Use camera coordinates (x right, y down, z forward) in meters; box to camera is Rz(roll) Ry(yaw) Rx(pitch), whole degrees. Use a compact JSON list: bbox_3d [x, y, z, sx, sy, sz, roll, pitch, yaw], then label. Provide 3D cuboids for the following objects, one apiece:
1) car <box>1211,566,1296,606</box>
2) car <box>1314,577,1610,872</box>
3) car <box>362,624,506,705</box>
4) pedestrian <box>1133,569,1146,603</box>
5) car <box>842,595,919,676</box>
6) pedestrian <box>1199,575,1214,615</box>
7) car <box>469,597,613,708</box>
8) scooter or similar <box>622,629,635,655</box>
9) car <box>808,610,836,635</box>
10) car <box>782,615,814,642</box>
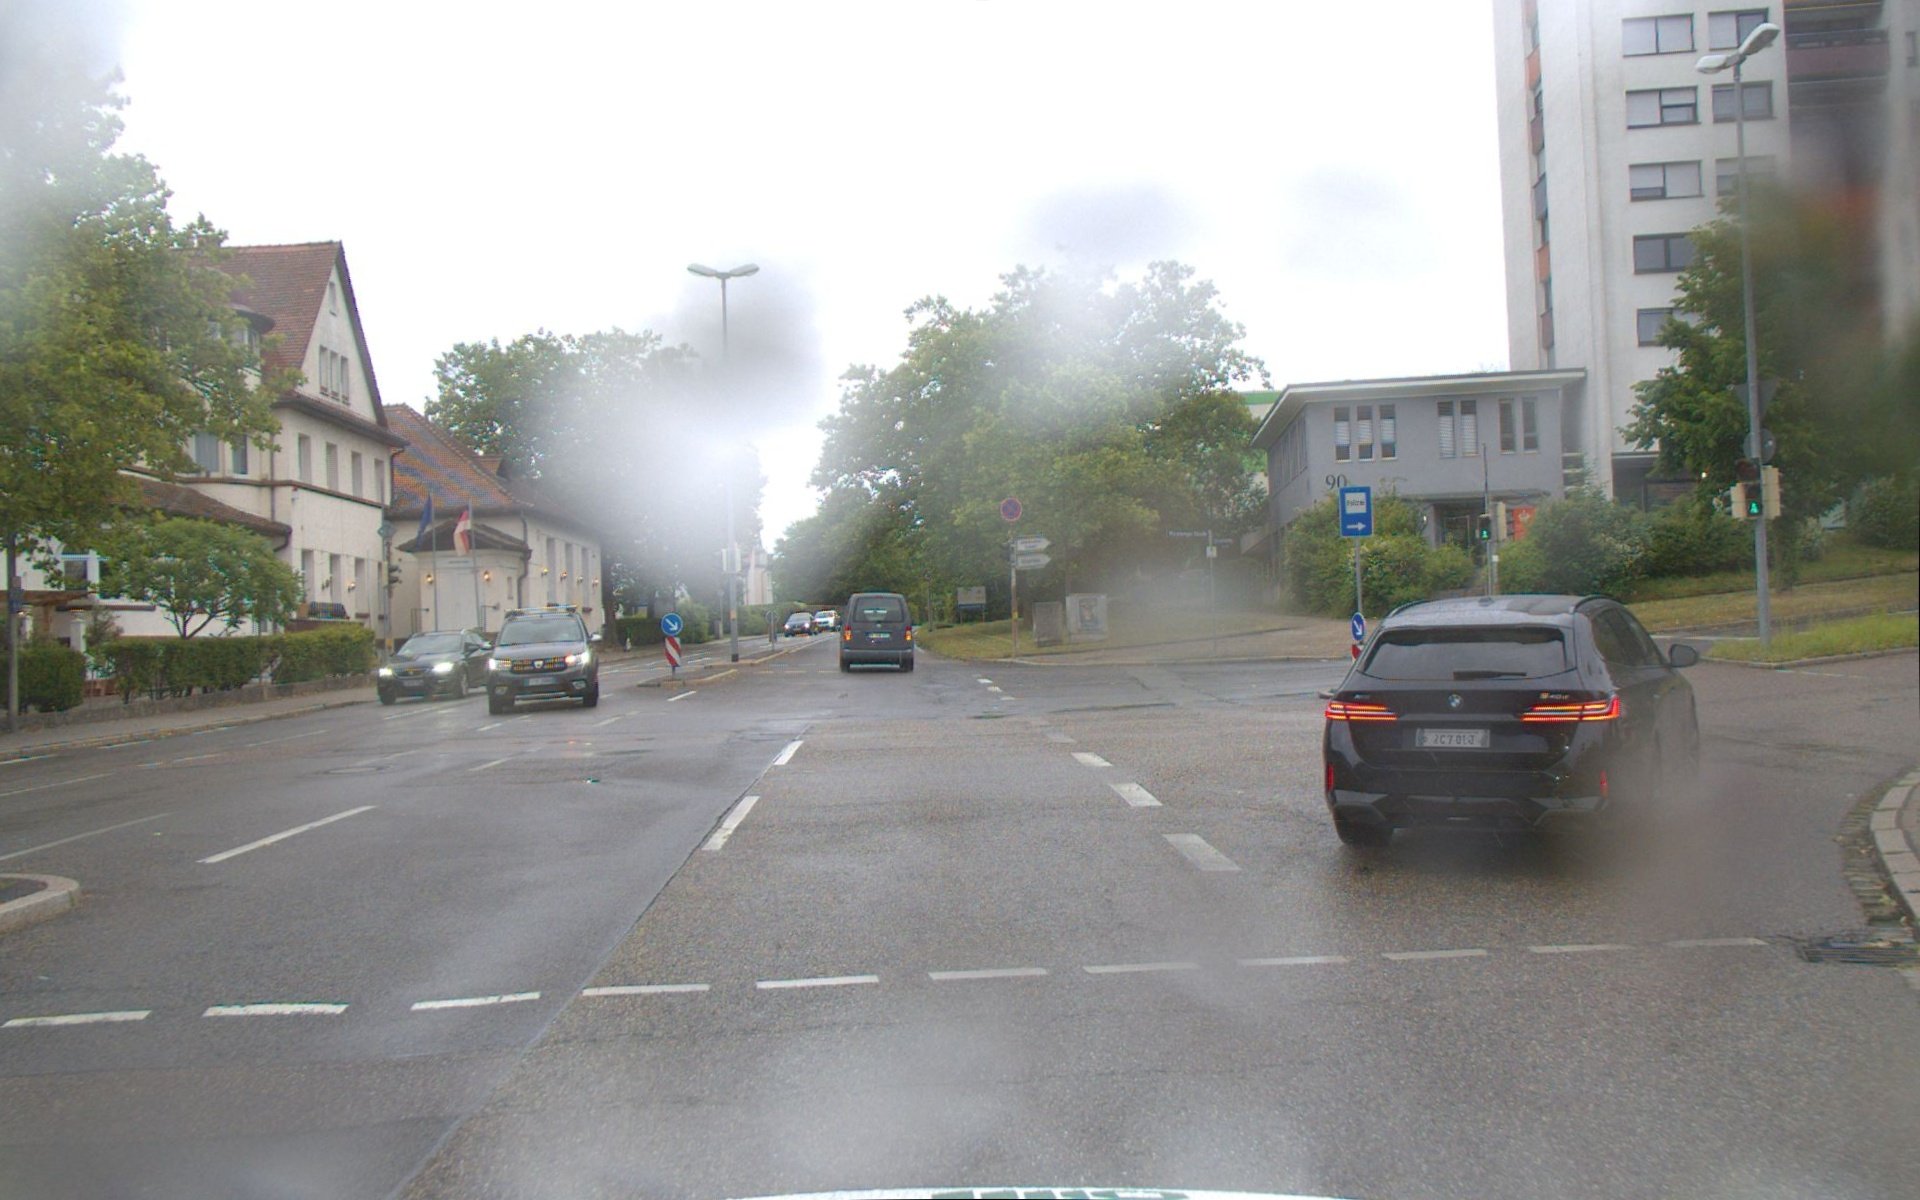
[{"bbox_3d":[13.981,-0.671,79.058,3.902,1.848,2.001,-1,-1,8],"label":"car"},{"bbox_3d":[3.063,0.683,10.641,1.491,1.561,3.535,-1,-1,12],"label":"car"},{"bbox_3d":[-11.306,1.340,35.879,1.870,1.452,4.413,-2,1,-3],"label":"car"},{"bbox_3d":[9.457,-0.746,87.169,0.546,1.794,0.727,0,-1,-5],"label":"pedestrian"},{"bbox_3d":[-1.940,0.839,40.144,1.776,1.840,3.754,0,-1,-3],"label":"car"},{"bbox_3d":[10.207,-0.217,68.503,0.588,1.645,0.526,-1,-1,6],"label":"pedestrian"},{"bbox_3d":[-6.895,0.802,27.618,1.864,1.604,4.493,-2,1,-9],"label":"car"},{"bbox_3d":[-14.479,1.833,72.187,0.382,1.083,1.409,0,-1,-4],"label":"scooter or similar"},{"bbox_3d":[-10.184,1.641,122.153,1.793,1.700,4.049,-2,1,-2],"label":"car"},{"bbox_3d":[-10.372,1.794,106.178,1.757,1.554,4.207,-2,1,-2],"label":"car"}]
